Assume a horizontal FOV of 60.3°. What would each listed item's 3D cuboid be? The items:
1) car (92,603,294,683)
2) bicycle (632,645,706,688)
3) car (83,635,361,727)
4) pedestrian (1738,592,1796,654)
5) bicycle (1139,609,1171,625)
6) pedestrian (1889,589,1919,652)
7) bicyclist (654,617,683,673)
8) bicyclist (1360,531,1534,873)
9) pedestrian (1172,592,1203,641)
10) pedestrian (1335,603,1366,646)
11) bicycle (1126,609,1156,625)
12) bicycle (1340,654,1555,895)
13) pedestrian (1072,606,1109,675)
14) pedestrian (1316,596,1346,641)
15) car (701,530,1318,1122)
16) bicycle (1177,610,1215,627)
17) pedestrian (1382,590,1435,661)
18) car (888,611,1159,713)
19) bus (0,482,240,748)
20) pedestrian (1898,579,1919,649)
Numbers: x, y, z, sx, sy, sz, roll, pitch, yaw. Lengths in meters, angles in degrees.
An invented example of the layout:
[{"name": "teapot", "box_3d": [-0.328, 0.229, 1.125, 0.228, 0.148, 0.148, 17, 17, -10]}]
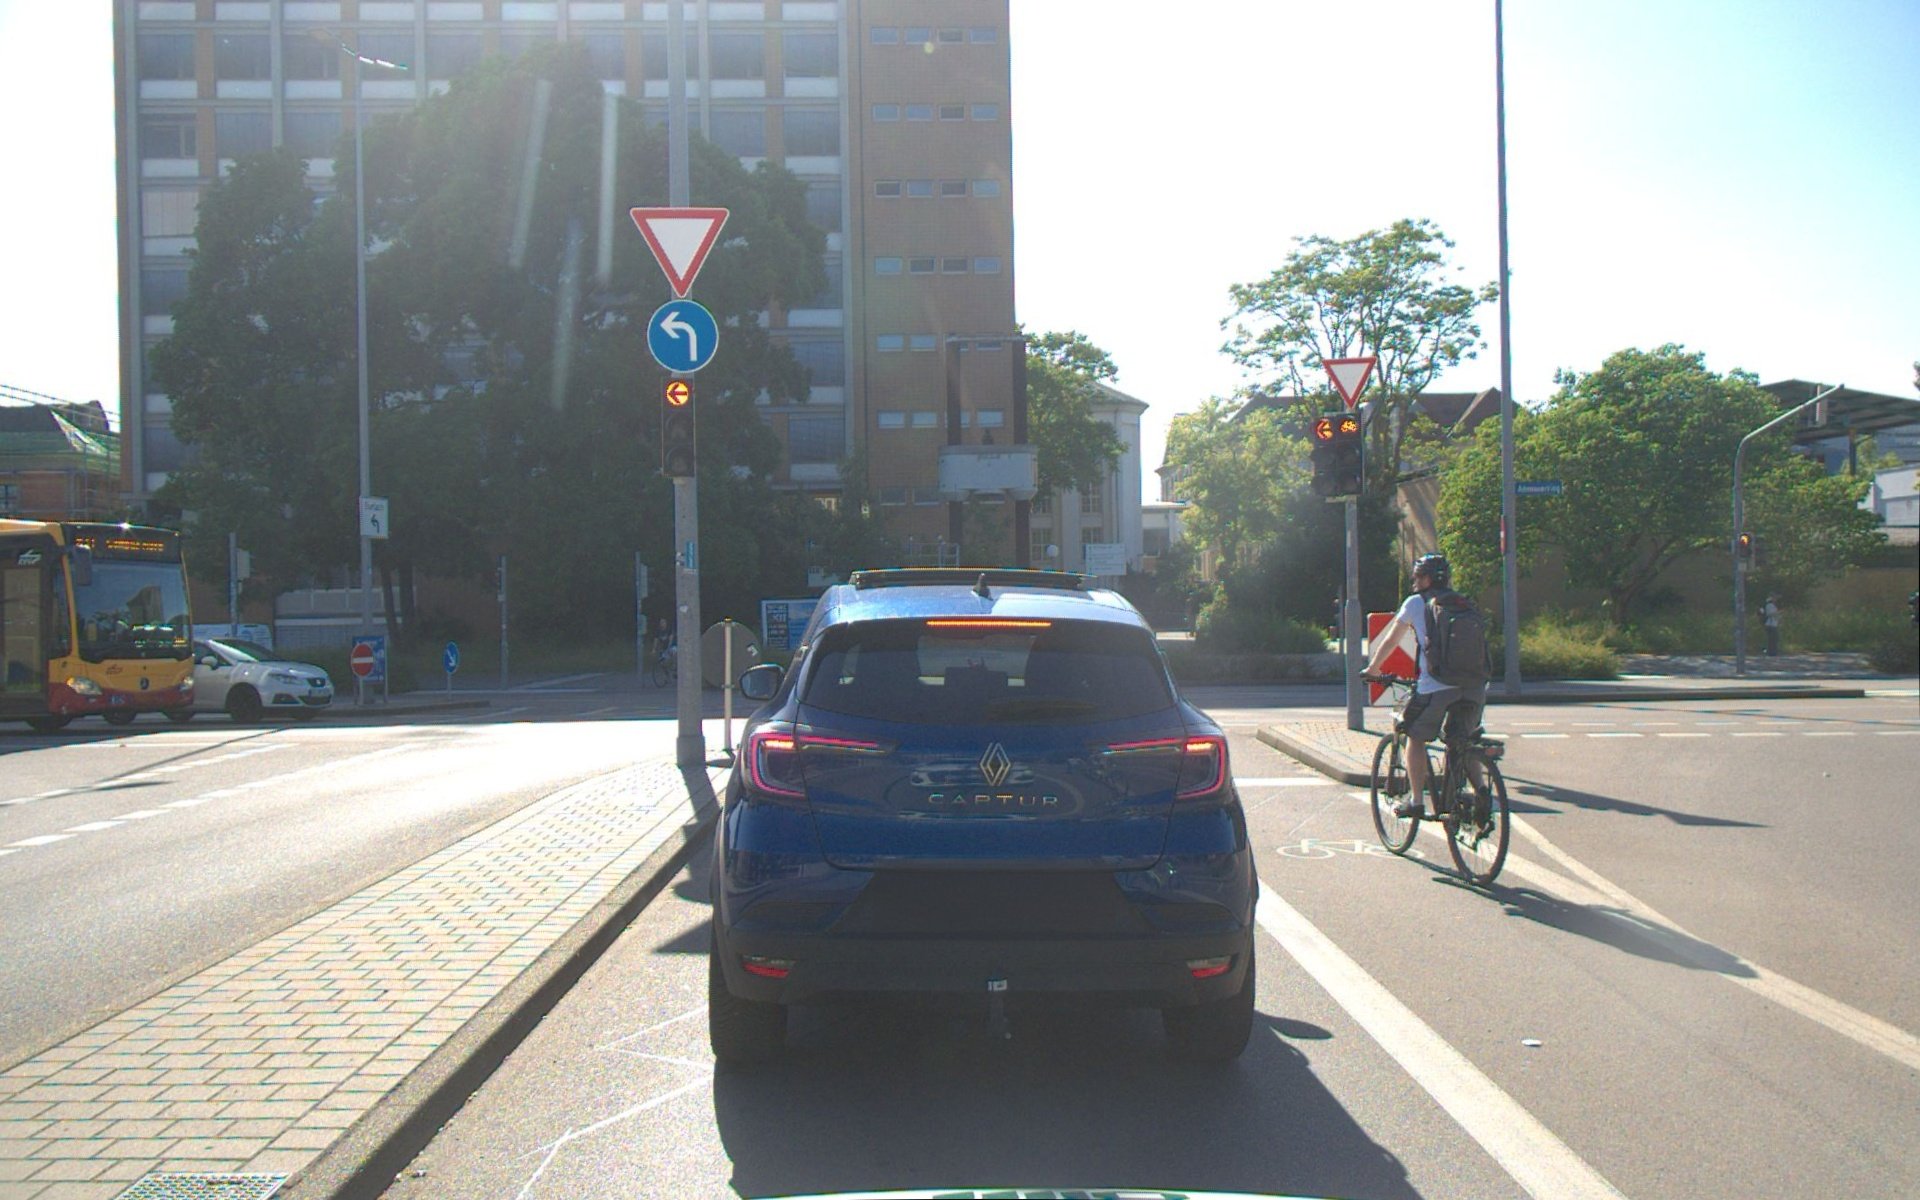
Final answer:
[{"name": "car", "box_3d": [-20.633, 1.162, 44.501, 4.896, 2.049, 2.072, -1, 0, 21]}, {"name": "bicycle", "box_3d": [-7.662, 1.754, 43.576, 1.825, 1.025, 0.700, -2, -3, -3]}, {"name": "car", "box_3d": [-12.202, 1.333, 27.451, 3.902, 1.397, 1.761, -1, 0, 12]}, {"name": "pedestrian", "box_3d": [20.549, 0.572, 42.127, 1.062, 1.547, 0.931, -1, 0, 9]}, {"name": "bicycle", "box_3d": [11.207, 0.980, 94.995, 1.735, 0.914, 0.765, -1, 0, -1]}, {"name": "pedestrian", "box_3d": [23.820, 0.504, 41.006, 1.052, 1.547, 0.879, -1, 0, 4]}, {"name": "bicyclist", "box_3d": [-7.685, 1.193, 43.612, 0.624, 1.437, 0.648, -2, -2, -3]}, {"name": "bicyclist", "box_3d": [2.713, 0.548, 9.298, 0.663, 1.816, 0.939, 1, -1, -2]}, {"name": "pedestrian", "box_3d": [9.753, 0.715, 71.002, 1.132, 2.049, 1.164, -1, 0, -1]}, {"name": "pedestrian", "box_3d": [15.360, 0.959, 65.077, 0.917, 1.641, 1.175, -1, 0, -1]}, {"name": "bicycle", "box_3d": [10.861, 1.011, 99.353, 1.735, 0.908, 0.765, -1, 0, -1]}, {"name": "bicycle", "box_3d": [2.685, 0.912, 9.301, 0.602, 1.158, 1.825, 0, 0, -2]}, {"name": "pedestrian", "box_3d": [3.610, 1.110, 45.684, 0.912, 1.888, 0.808, -1, 0, 8]}, {"name": "pedestrian", "box_3d": [14.708, 0.736, 65.638, 0.933, 1.772, 0.984, -1, 0, -1]}, {"name": "car", "box_3d": [0.091, 0.643, 6.670, 1.758, 1.684, 3.852, 1, 0, -2]}, {"name": "bicycle", "box_3d": [11.865, 0.929, 83.204, 1.739, 0.837, 0.763, -1, 0, -11]}, {"name": "pedestrian", "box_3d": [12.085, 0.684, 44.609, 1.269, 1.888, 0.967, -1, 0, 11]}, {"name": "car", "box_3d": [0.991, 0.921, 24.660, 3.762, 1.428, 1.893, 0, -3, 13]}, {"name": "bus", "box_3d": [-17.500, 0.315, 25.788, 12.159, 3.633, 3.252, -1, 0, 16]}, {"name": "pedestrian", "box_3d": [24.639, 0.336, 42.142, 0.943, 1.763, 0.926, -1, 0, 4]}]
